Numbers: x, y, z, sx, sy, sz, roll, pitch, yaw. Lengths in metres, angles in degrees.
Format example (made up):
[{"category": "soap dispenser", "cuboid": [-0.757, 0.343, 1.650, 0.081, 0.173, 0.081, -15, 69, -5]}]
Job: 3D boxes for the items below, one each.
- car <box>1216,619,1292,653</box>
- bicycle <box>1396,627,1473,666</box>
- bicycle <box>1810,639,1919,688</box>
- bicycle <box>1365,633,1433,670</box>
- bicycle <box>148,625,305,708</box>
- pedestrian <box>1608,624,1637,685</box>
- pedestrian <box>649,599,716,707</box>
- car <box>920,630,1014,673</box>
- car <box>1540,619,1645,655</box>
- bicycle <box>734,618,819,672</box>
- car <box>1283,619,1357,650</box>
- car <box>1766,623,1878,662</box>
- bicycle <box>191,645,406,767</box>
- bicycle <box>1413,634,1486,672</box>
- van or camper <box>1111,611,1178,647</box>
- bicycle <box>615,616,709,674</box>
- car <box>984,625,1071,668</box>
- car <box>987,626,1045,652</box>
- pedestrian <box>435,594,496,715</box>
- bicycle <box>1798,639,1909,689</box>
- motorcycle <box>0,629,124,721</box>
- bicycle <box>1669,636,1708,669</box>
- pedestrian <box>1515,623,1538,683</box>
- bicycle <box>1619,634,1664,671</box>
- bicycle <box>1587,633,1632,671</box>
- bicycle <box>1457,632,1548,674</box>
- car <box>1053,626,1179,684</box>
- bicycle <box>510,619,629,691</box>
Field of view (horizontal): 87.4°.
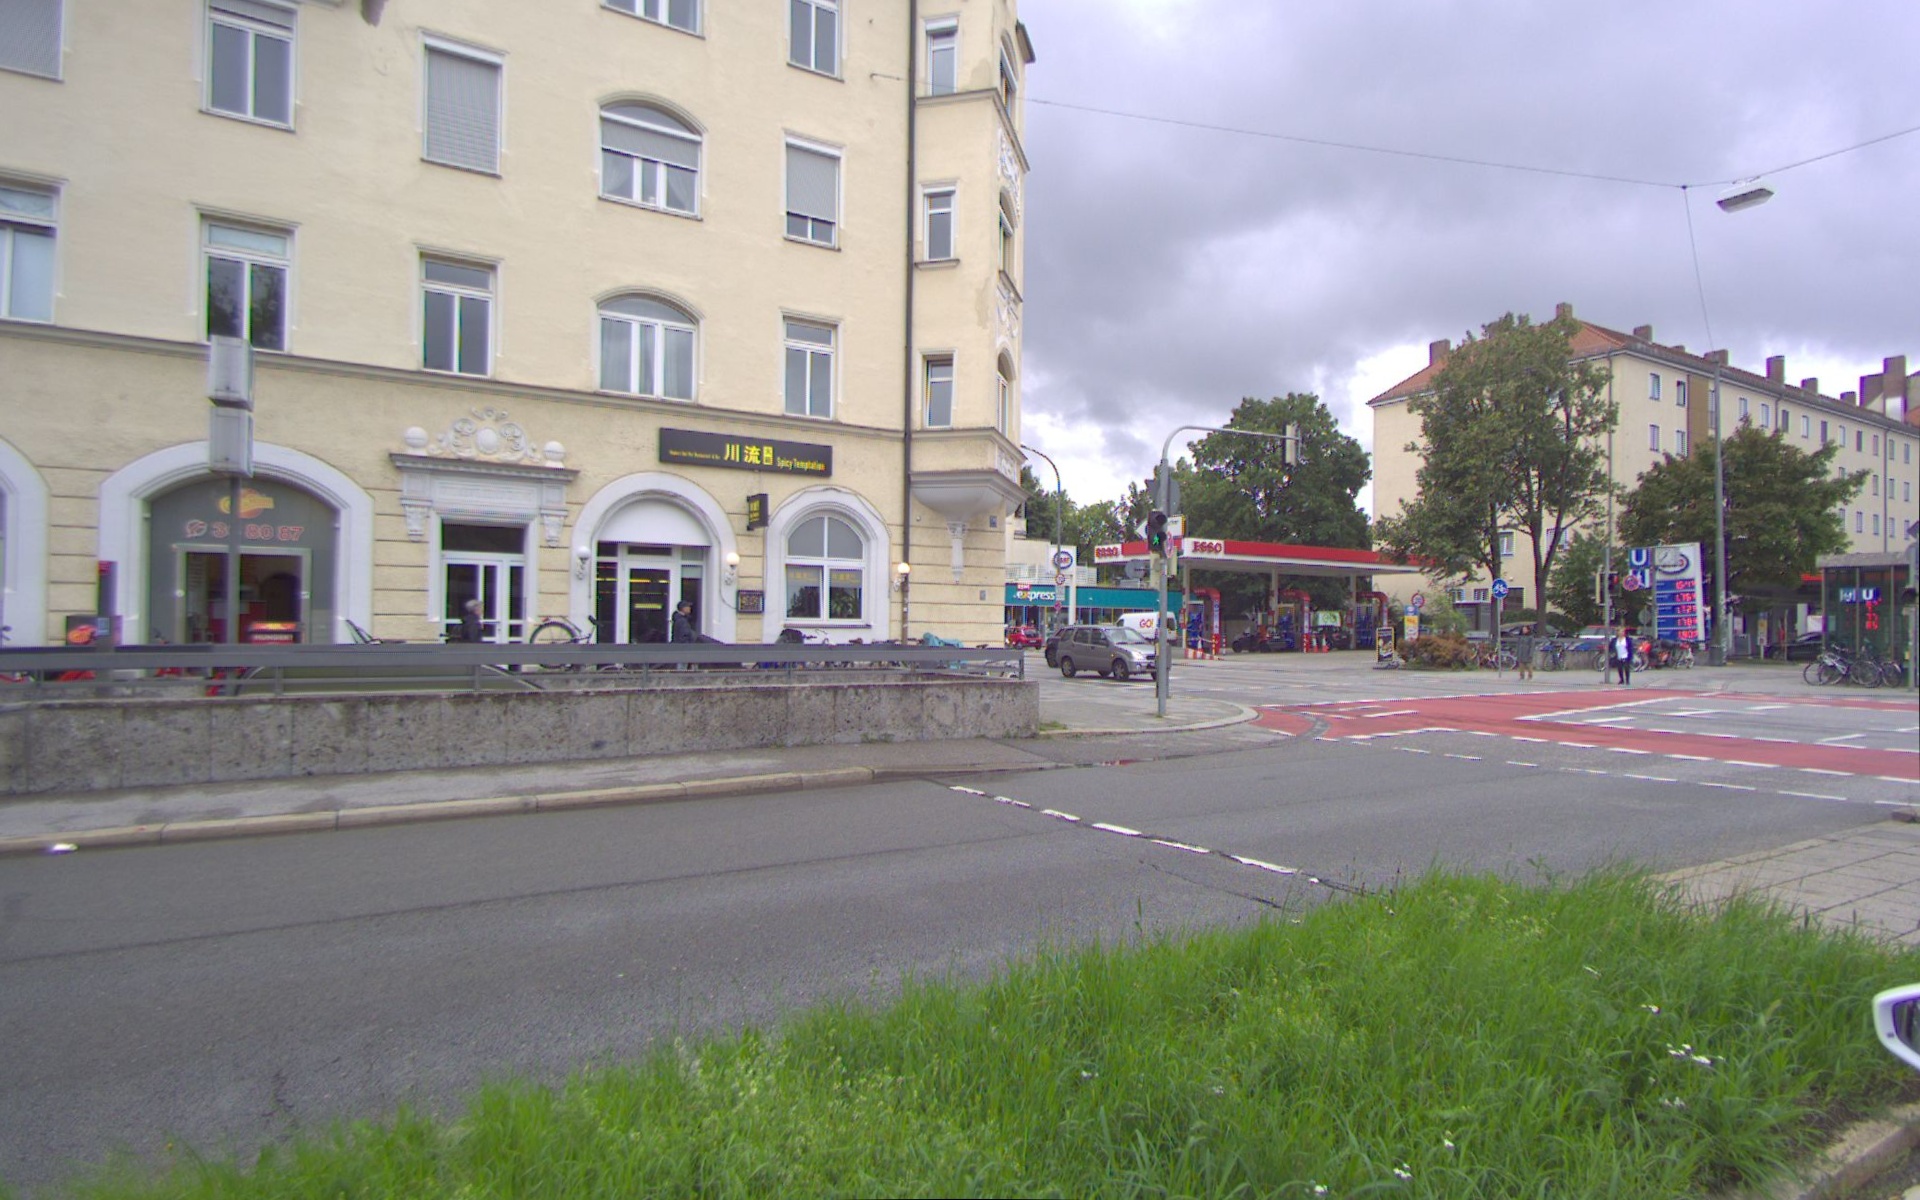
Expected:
[{"category": "car", "cuboid": [16.513, 2.013, 56.569, 1.836, 1.808, 3.968, 1, -1, -30]}, {"category": "bicycle", "cuboid": [16.992, 1.639, 36.004, 0.785, 1.267, 2.374, 2, 0, -40]}, {"category": "bicycle", "cuboid": [25.897, 1.793, 28.773, 0.685, 1.322, 2.275, 1, -1, -28]}, {"category": "bicycle", "cuboid": [15.919, 1.841, 36.446, 0.759, 1.252, 2.162, 1, -1, -39]}, {"category": "bicycle", "cuboid": [-9.173, 0.815, 12.628, 1.527, 0.993, 0.470, 1, -1, -30]}, {"category": "pedestrian", "cuboid": [18.809, 1.537, 28.519, 0.572, 1.717, 0.530, 1, -1, -37]}, {"category": "pedestrian", "cuboid": [-4.538, 0.857, 16.427, 0.934, 1.719, 0.589, 1, -1, -28]}, {"category": "car", "cuboid": [0.194, 1.839, 36.683, 1.643, 1.430, 4.299, 1, -1, -27]}, {"category": "car", "cuboid": [30.537, 1.752, 48.591, 1.797, 1.630, 3.931, 1, -1, -33]}, {"category": "bicycle", "cuboid": [-3.491, 0.847, 19.175, 1.527, 0.993, 0.470, 1, -1, -30]}, {"category": "car", "cuboid": [21.773, 2.086, 60.841, 1.836, 1.808, 3.968, 1, -1, -30]}, {"category": "car", "cuboid": [43.296, 2.098, 50.532, 1.860, 1.862, 3.965, 1, -1, -32]}, {"category": "bicycle", "cuboid": [-6.715, 1.039, 10.269, 1.798, 1.130, 0.392, 1, -1, -39]}, {"category": "bicycle", "cuboid": [16.935, 1.805, 34.804, 0.760, 1.252, 2.161, 1, -1, -41]}, {"category": "van or camper", "cuboid": [12.587, 1.957, 68.685, 1.899, 2.354, 4.508, 1, -1, -34]}, {"category": "bicycle", "cuboid": [-5.244, 0.784, 17.710, 1.527, 0.993, 0.470, 1, -1, -30]}, {"category": "car", "cuboid": [2.523, 1.738, 38.203, 1.677, 1.534, 3.308, 1, -1, -32]}, {"category": "car", "cuboid": [3.595, 2.483, 65.304, 1.848, 1.598, 3.967, 1, -1, -31]}, {"category": "pedestrian", "cuboid": [-7.221, 0.787, 14.660, 0.761, 1.719, 0.540, 1, -1, -29]}, {"category": "bicycle", "cuboid": [25.223, 1.775, 28.399, 0.695, 1.322, 2.262, 1, -1, -28]}, {"category": "motorcycle", "cuboid": [-12.284, 0.980, 13.397, 1.947, 1.137, 0.610, 1, -1, 10]}, {"category": "bicycle", "cuboid": [26.819, 1.909, 36.966, 1.947, 1.160, 0.603, 1, -1, -37]}, {"category": "pedestrian", "cuboid": [16.770, 1.557, 29.730, 0.581, 1.717, 0.576, 0, -1, 29]}, {"category": "bicycle", "cuboid": [23.468, 1.785, 34.567, 2.167, 1.252, 0.603, 1, -1, -37]}, {"category": "bicycle", "cuboid": [22.446, 1.773, 34.721, 2.167, 1.252, 0.603, 1, -1, -37]}, {"category": "bicycle", "cuboid": [18.474, 1.776, 34.237, 2.664, 1.267, 0.792, 2, 0, 30]}, {"category": "car", "cuboid": [4.443, 1.532, 29.028, 1.646, 1.537, 3.599, 1, -1, -32]}, {"category": "bicycle", "cuboid": [-5.554, 0.771, 14.321, 1.527, 0.993, 0.470, 1, -1, -30]}]
